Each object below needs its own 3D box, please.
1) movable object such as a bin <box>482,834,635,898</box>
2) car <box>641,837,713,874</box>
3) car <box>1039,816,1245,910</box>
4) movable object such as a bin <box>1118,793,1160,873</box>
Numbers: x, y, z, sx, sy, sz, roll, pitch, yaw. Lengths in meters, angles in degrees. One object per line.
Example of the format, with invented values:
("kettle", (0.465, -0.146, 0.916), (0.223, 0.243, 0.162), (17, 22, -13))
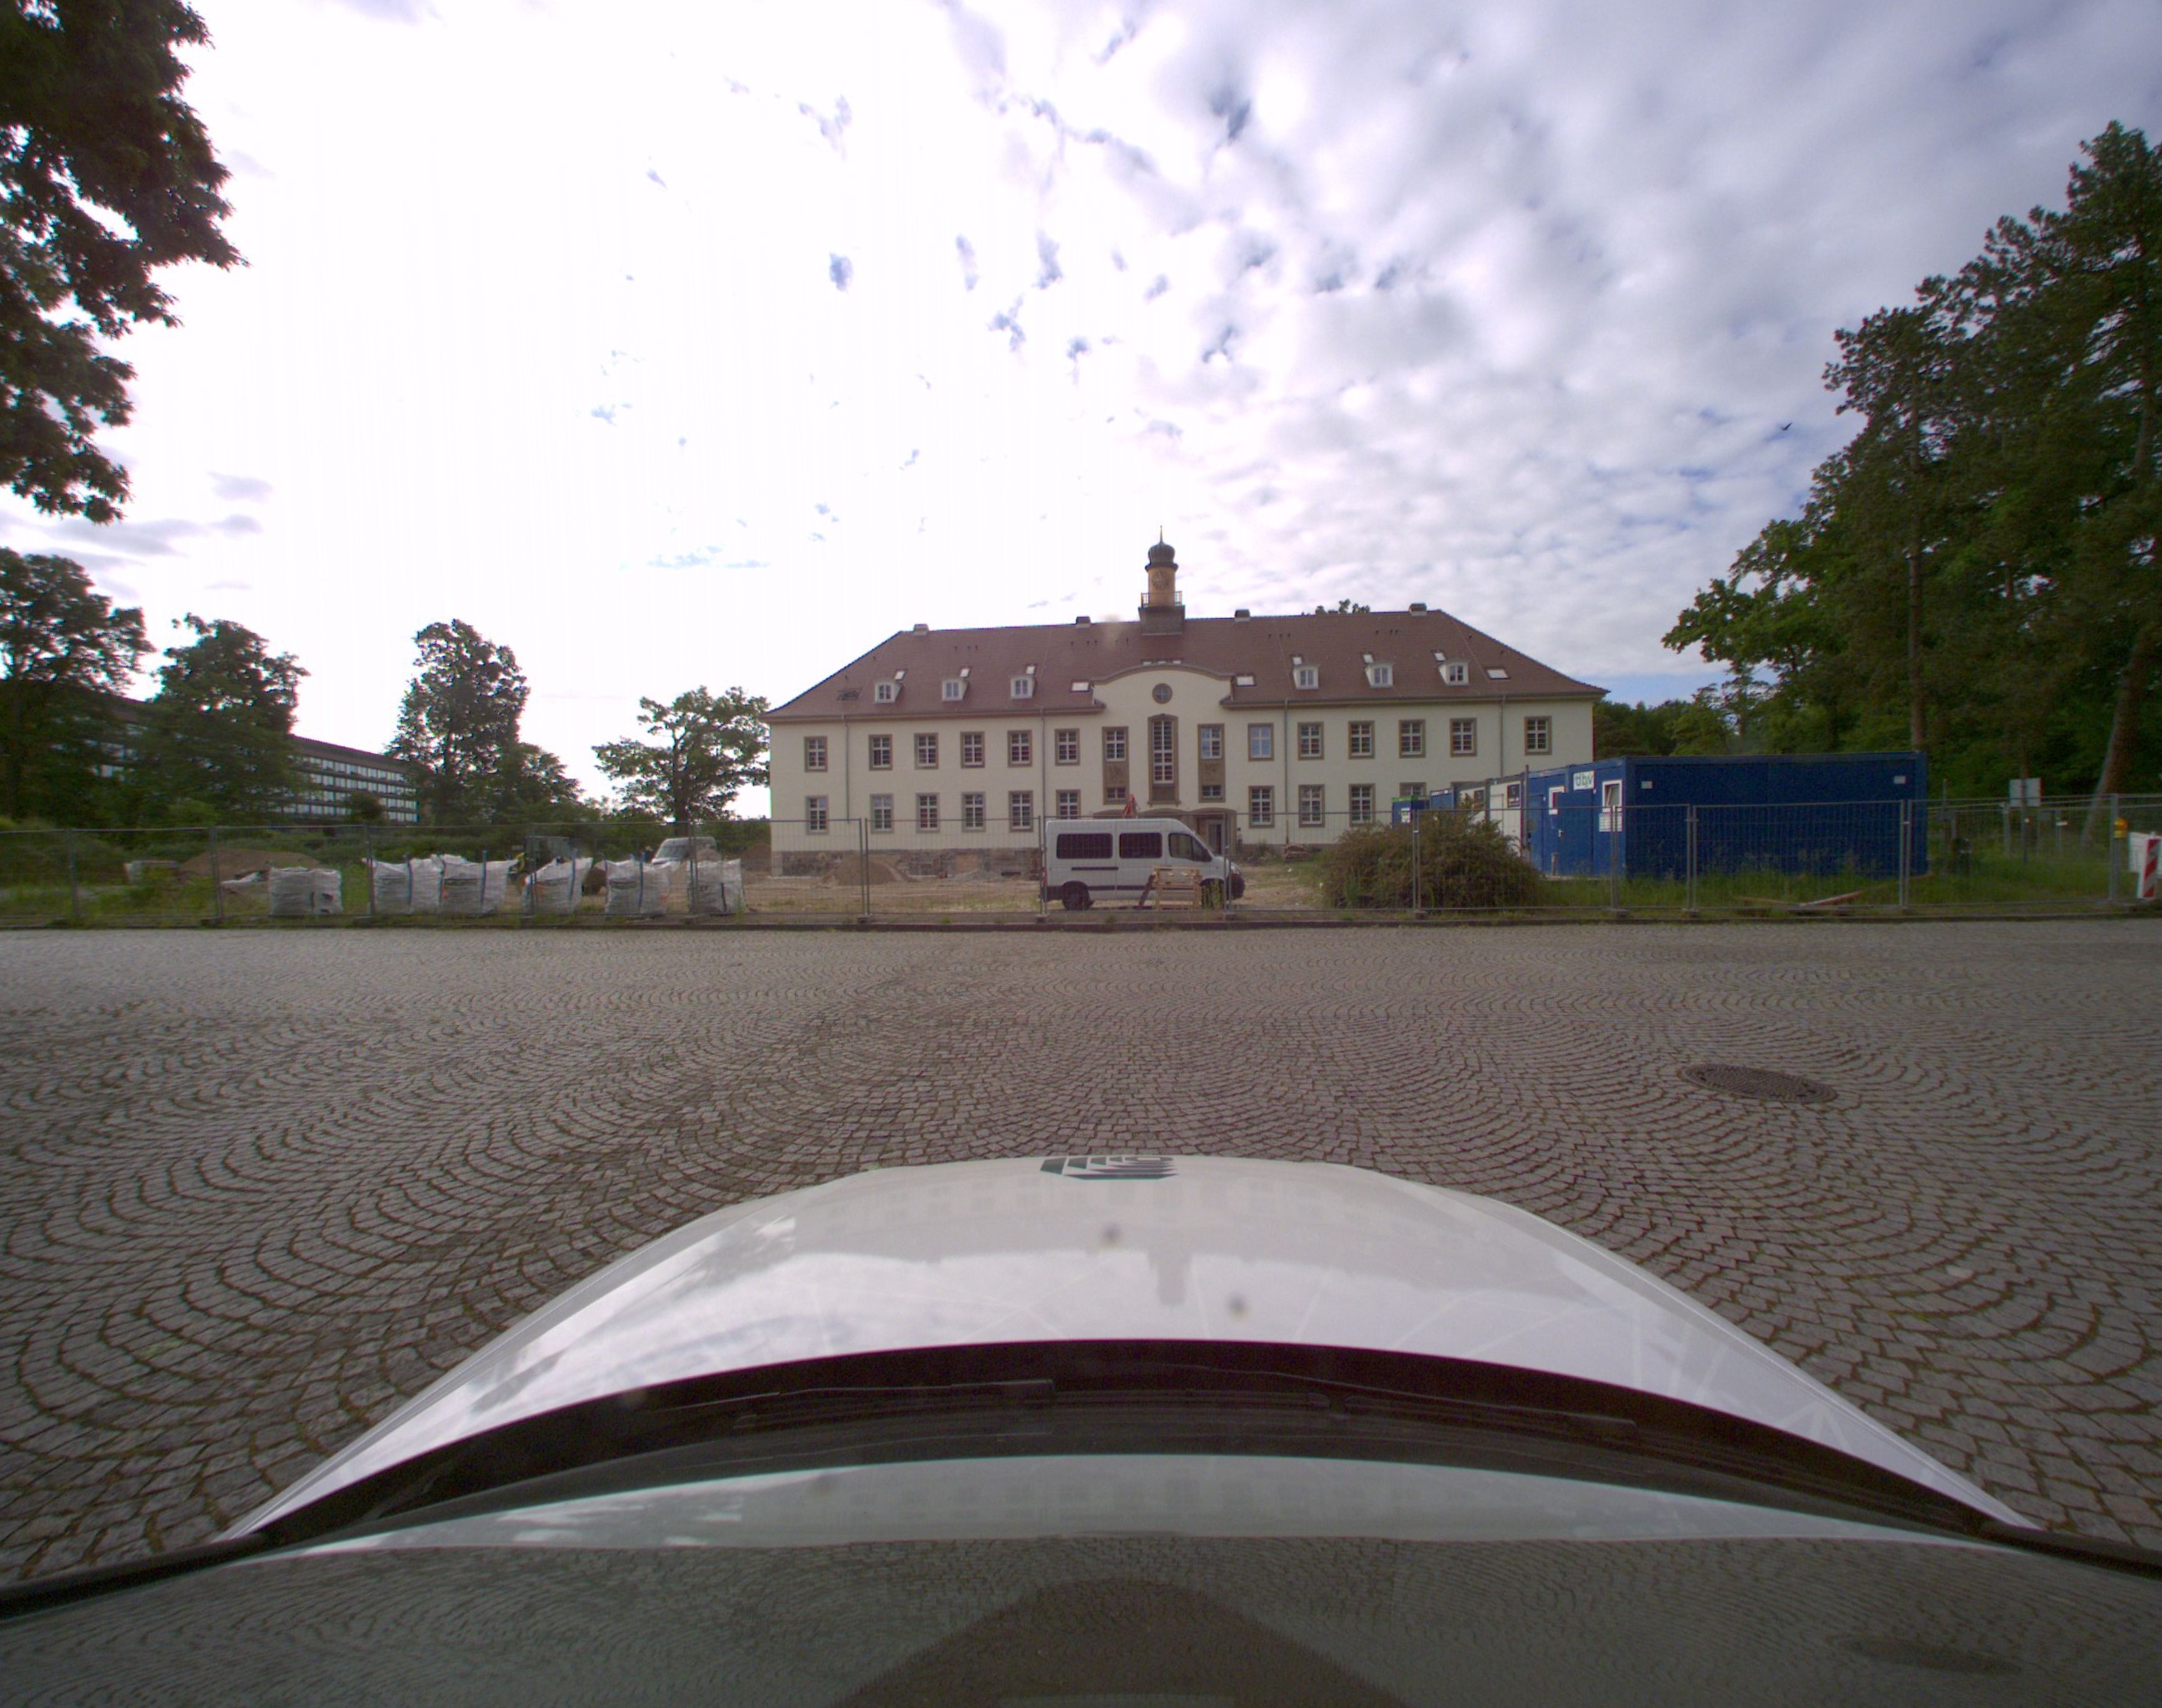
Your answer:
("movable object such as a bin", (-22.236, 0.491, 34.771), (5.305, 2.556, 2.003), (-1, 0, 4))
("car", (-25.214, 0.061, 51.023), (2.061, 2.150, 4.898), (-1, 1, 0))
("car", (1.650, 0.240, 21.829), (5.234, 2.344, 1.914), (-1, 0, 7))
("movable object such as a bin", (2.889, -1.022, 41.497), (1.985, 3.771, 5.321), (-1, 0, 2))
